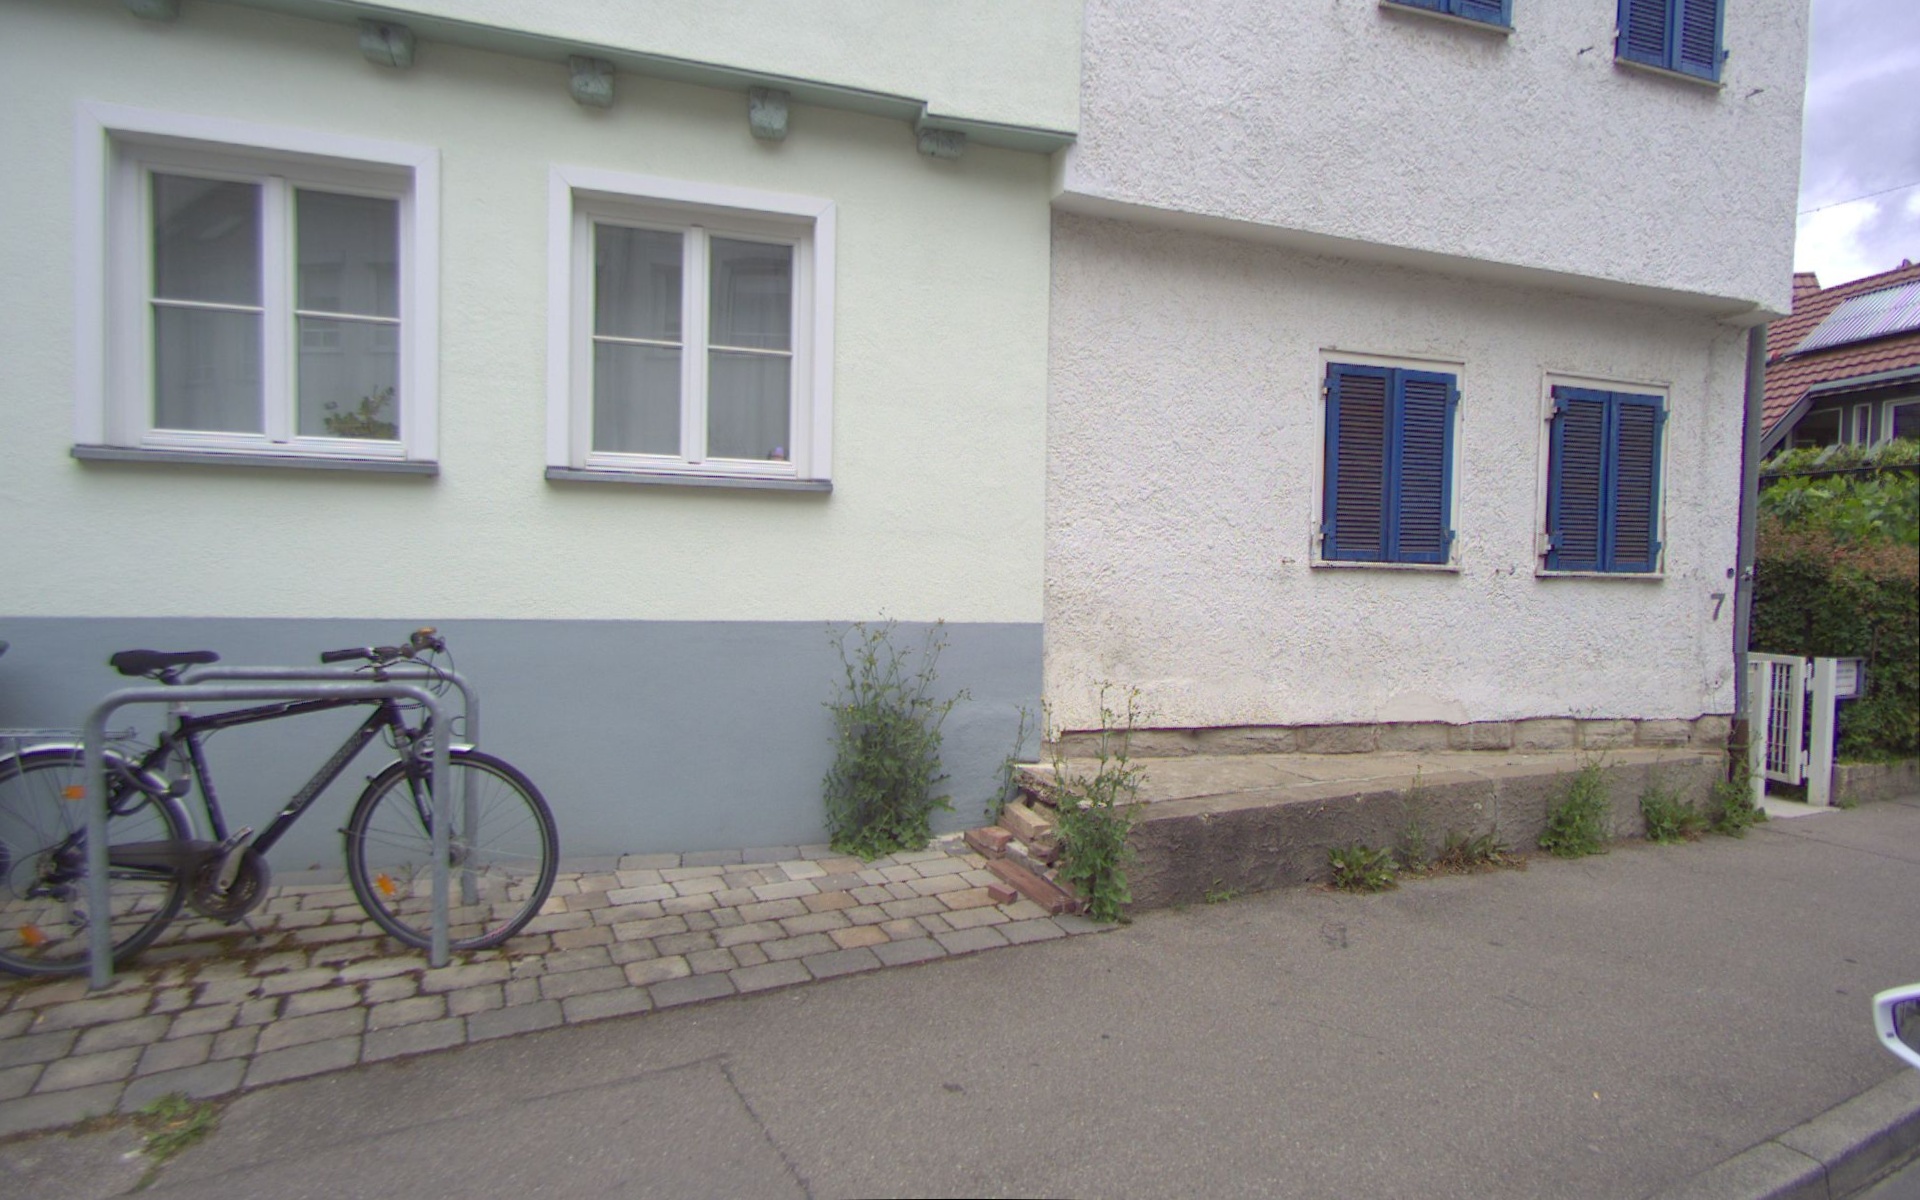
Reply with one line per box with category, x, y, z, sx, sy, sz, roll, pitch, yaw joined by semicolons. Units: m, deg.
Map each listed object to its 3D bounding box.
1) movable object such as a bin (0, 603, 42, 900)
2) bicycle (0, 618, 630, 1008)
movable object such as a bin;-3.615;0.546;3.334;0.613;1.014;0.555;1;7;-19
bicycle;-2.143;0.618;3.164;2.057;1.053;0.442;1;6;-15
